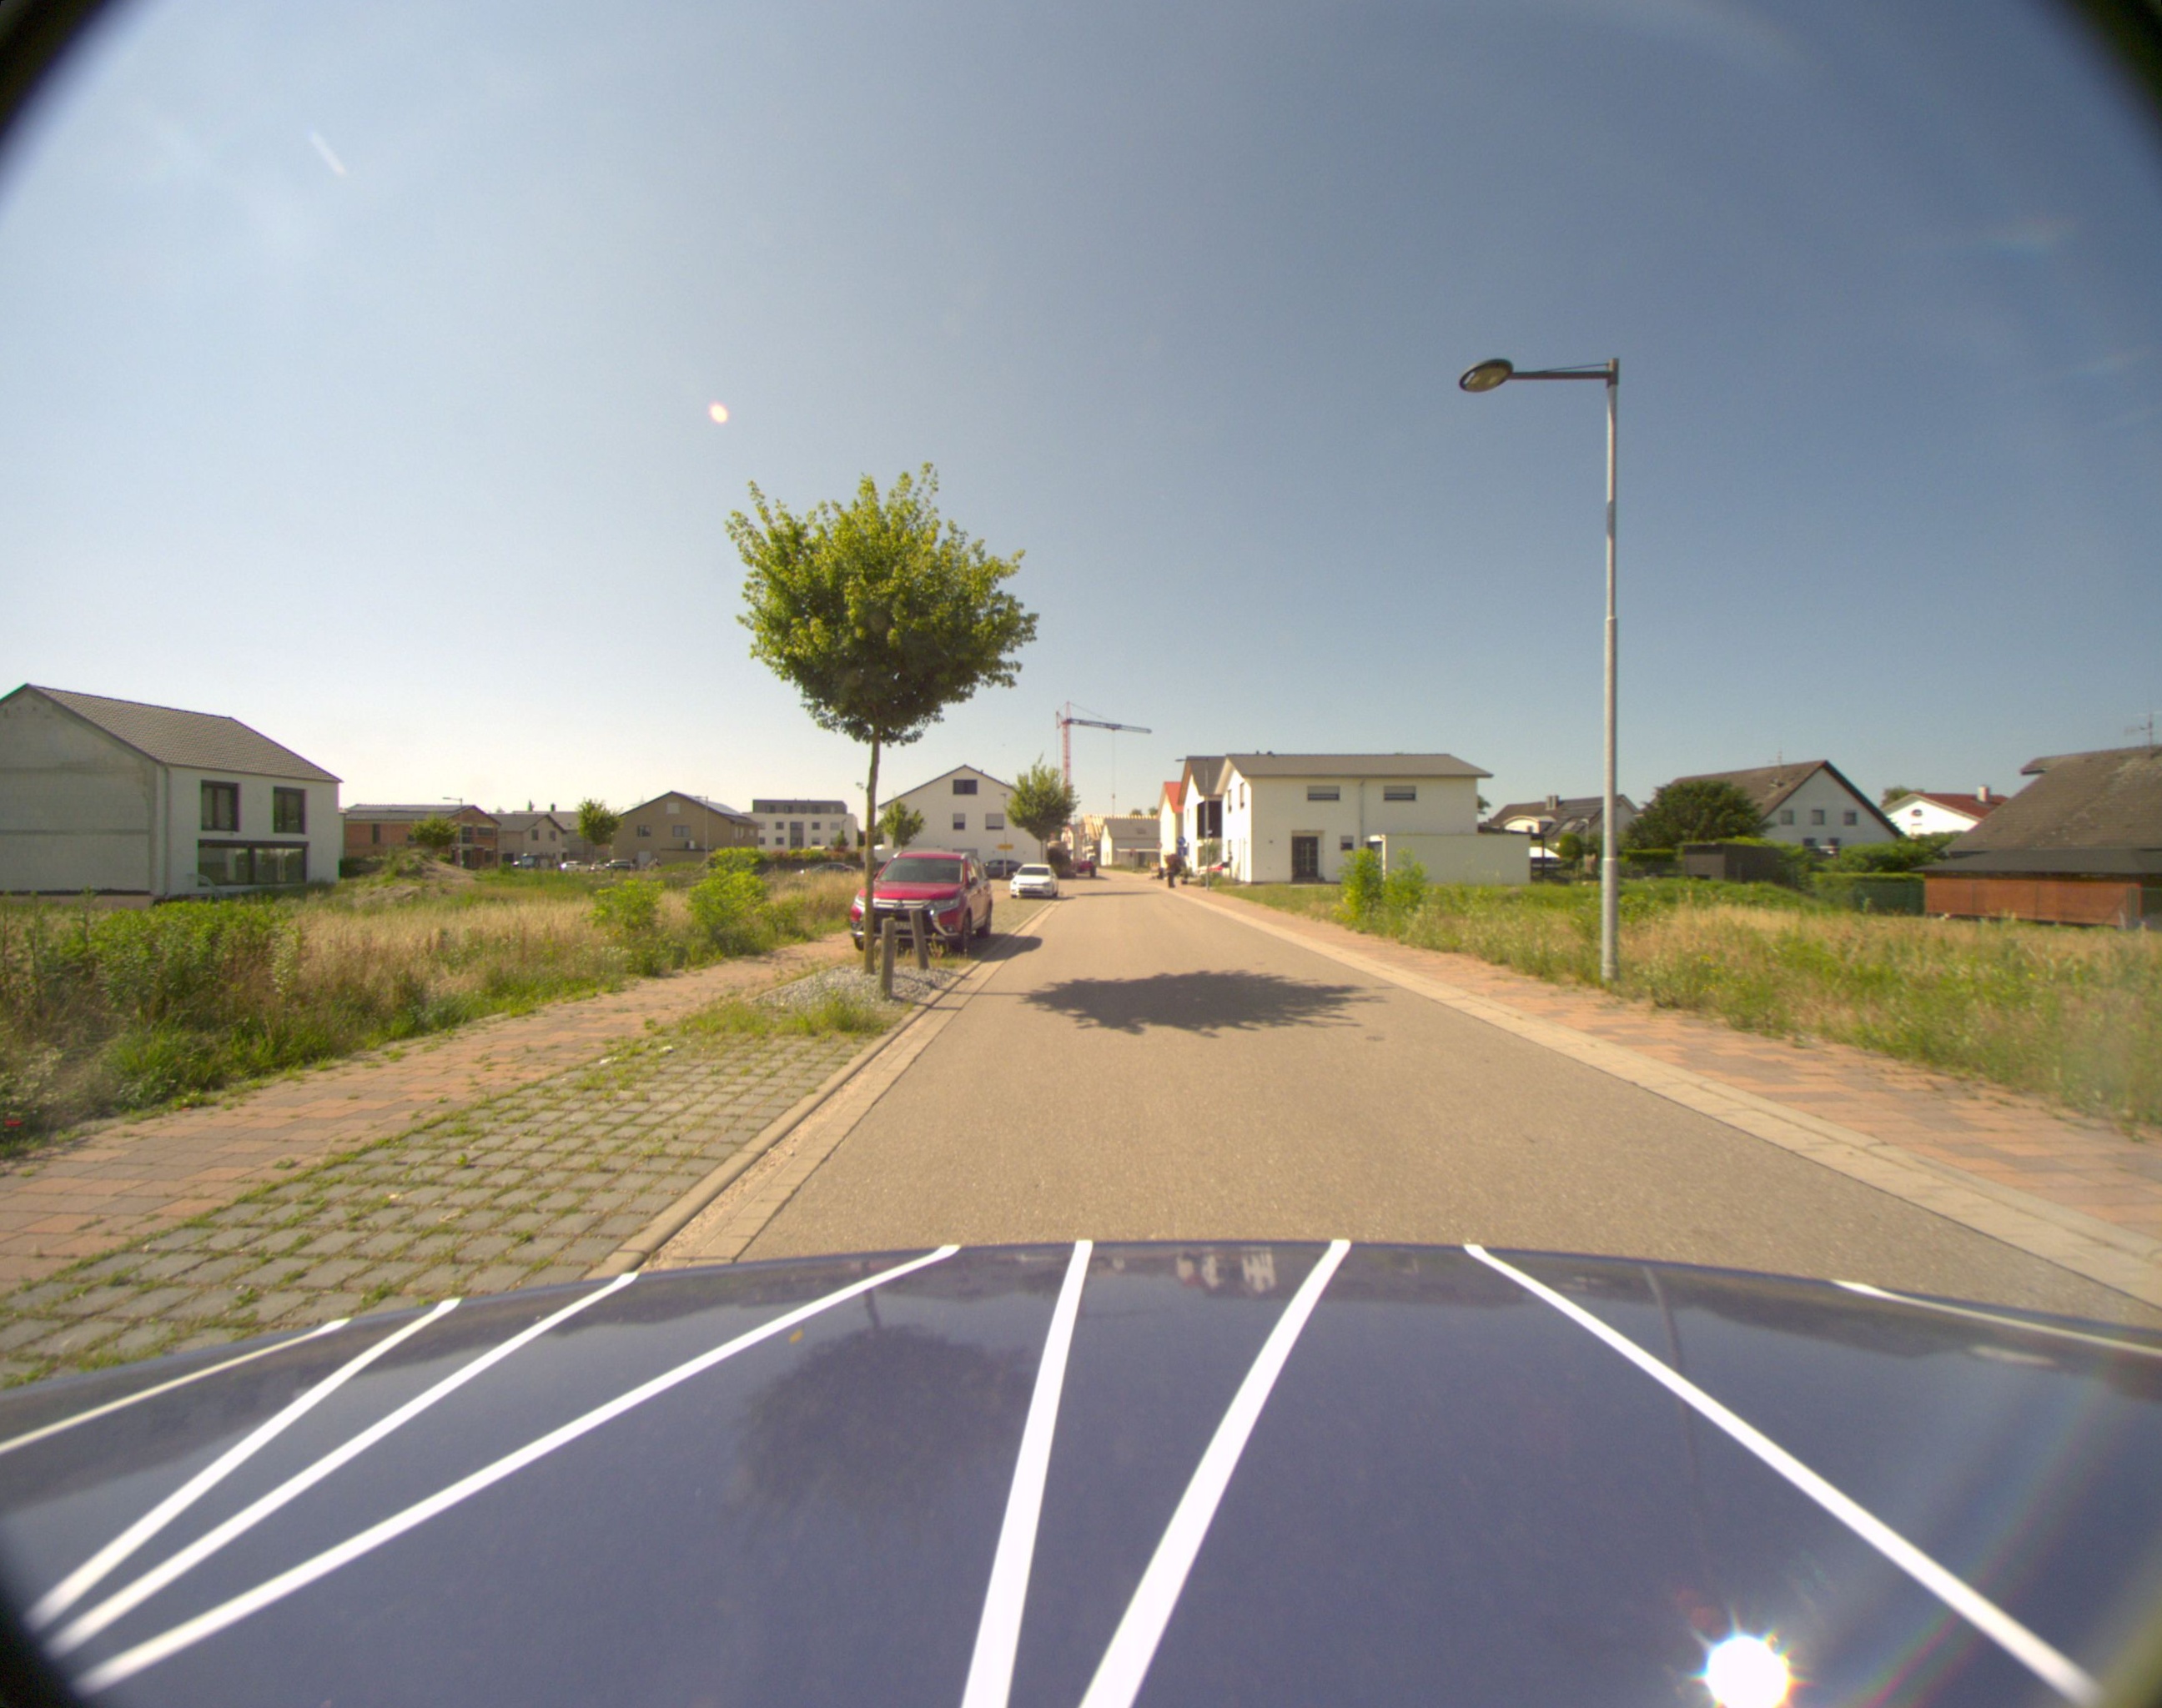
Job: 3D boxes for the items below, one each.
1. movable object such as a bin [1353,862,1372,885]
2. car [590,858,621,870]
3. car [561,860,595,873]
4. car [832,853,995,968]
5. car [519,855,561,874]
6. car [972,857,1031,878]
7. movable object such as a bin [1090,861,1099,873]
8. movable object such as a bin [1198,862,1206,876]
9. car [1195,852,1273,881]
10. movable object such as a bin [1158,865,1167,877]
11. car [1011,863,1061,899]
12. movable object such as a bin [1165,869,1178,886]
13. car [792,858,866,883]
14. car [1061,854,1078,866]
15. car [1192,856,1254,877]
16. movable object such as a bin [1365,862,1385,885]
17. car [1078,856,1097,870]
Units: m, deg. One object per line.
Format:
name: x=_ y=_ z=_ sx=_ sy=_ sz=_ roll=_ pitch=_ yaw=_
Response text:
movable object such as a bin: x=13.701 y=0.949 z=36.995 sx=0.661 sy=1.092 sz=0.785 roll=1 pitch=0 yaw=1
car: x=-59.126 y=1.191 z=94.572 sx=1.750 sy=1.493 sz=3.997 roll=0 pitch=0 yaw=-7
car: x=-58.353 y=1.411 z=88.235 sx=1.667 sy=1.392 sz=3.917 roll=0 pitch=0 yaw=-7
car: x=-2.702 y=0.842 z=13.297 sx=1.781 sy=1.653 sz=4.434 roll=1 pitch=0 yaw=1
car: x=-57.643 y=1.136 z=81.086 sx=2.000 sy=2.002 sz=3.997 roll=0 pitch=0 yaw=-7
car: x=-6.158 y=1.039 z=59.255 sx=4.348 sy=1.549 sz=1.960 roll=0 pitch=-1 yaw=-1
movable object such as a bin: x=1.219 y=1.131 z=68.727 sx=0.823 sy=1.058 sz=0.590 roll=-1 pitch=1 yaw=-3
movable object such as a bin: x=9.485 y=1.198 z=59.551 sx=0.500 sy=1.085 sz=0.602 roll=-1 pitch=-1 yaw=-3
car: x=10.051 y=0.801 z=50.072 sx=4.749 sy=1.864 sz=1.938 roll=0 pitch=0 yaw=-1
movable object such as a bin: x=6.318 y=1.325 z=58.826 sx=0.618 sy=0.931 sz=0.565 roll=-1 pitch=0 yaw=-3
car: x=-1.891 y=1.144 z=33.228 sx=1.779 sy=1.411 sz=4.166 roll=1 pitch=0 yaw=2
movable object such as a bin: x=4.998 y=1.293 z=41.994 sx=0.625 sy=0.943 sz=0.500 roll=-1 pitch=1 yaw=-3
car: x=-16.316 y=1.032 z=49.368 sx=4.193 sy=1.485 sz=1.848 roll=-1 pitch=1 yaw=-5
car: x=-1.639 y=0.826 z=106.229 sx=1.803 sy=1.609 sz=3.672 roll=0 pitch=1 yaw=-9
car: x=10.497 y=0.925 z=56.338 sx=4.164 sy=1.553 sz=1.744 roll=0 pitch=0 yaw=-4
movable object such as a bin: x=14.331 y=0.944 z=37.107 sx=0.671 sy=1.092 sz=0.808 roll=1 pitch=0 yaw=2
car: x=0.769 y=1.051 z=86.721 sx=1.911 sy=1.470 sz=3.998 roll=0 pitch=1 yaw=-3
